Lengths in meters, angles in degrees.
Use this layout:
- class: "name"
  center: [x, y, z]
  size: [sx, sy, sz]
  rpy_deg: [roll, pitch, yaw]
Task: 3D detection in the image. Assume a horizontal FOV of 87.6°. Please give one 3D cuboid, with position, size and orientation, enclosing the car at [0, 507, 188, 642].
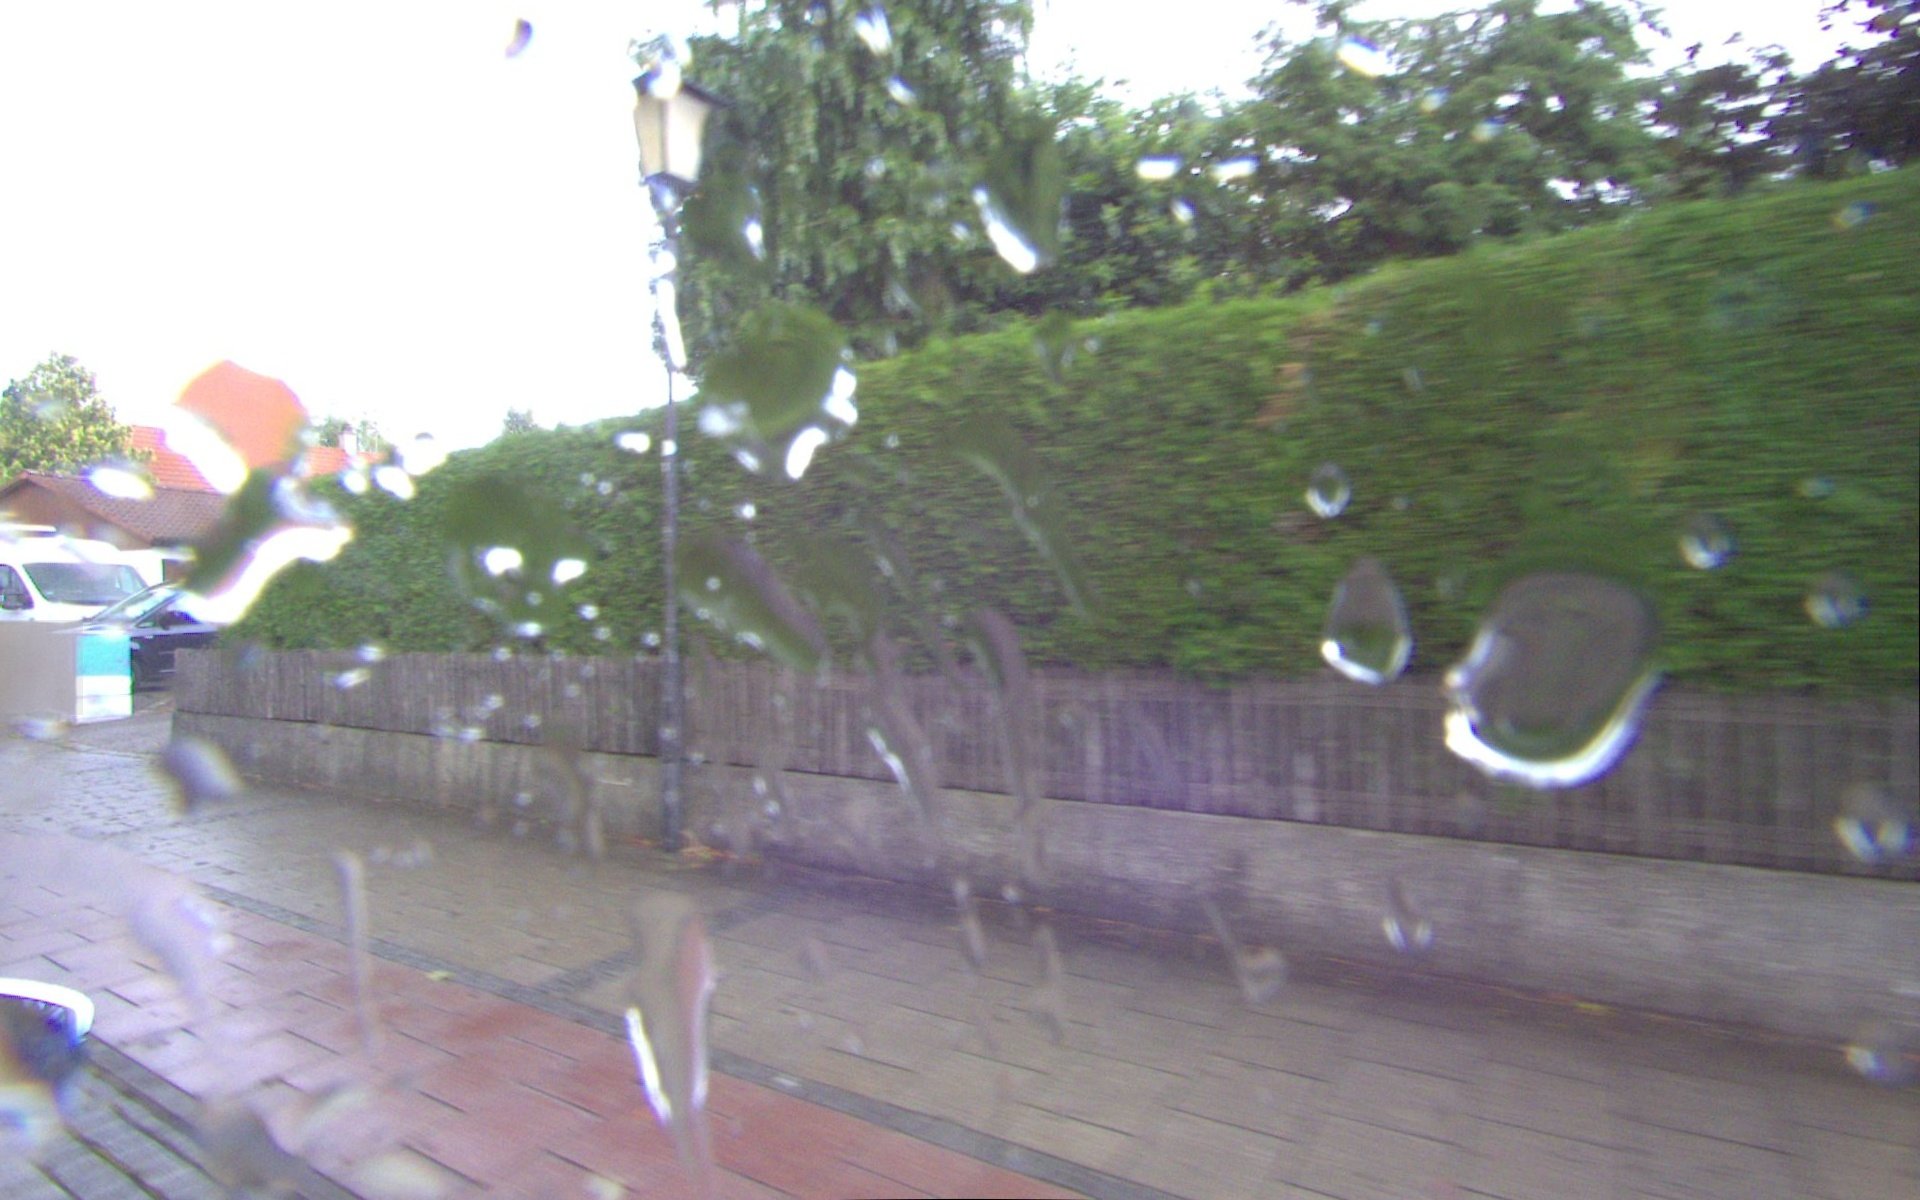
- class: "car"
  center: [-16.754, -0.344, 18.191]
  size: [4.866, 2.201, 1.997]
  rpy_deg: [-1, -2, 19]

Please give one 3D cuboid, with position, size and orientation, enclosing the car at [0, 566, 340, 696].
- class: "car"
  center: [-12.388, 0.406, 15.864]
  size: [1.668, 1.775, 4.088]
  rpy_deg: [2, 1, 29]
